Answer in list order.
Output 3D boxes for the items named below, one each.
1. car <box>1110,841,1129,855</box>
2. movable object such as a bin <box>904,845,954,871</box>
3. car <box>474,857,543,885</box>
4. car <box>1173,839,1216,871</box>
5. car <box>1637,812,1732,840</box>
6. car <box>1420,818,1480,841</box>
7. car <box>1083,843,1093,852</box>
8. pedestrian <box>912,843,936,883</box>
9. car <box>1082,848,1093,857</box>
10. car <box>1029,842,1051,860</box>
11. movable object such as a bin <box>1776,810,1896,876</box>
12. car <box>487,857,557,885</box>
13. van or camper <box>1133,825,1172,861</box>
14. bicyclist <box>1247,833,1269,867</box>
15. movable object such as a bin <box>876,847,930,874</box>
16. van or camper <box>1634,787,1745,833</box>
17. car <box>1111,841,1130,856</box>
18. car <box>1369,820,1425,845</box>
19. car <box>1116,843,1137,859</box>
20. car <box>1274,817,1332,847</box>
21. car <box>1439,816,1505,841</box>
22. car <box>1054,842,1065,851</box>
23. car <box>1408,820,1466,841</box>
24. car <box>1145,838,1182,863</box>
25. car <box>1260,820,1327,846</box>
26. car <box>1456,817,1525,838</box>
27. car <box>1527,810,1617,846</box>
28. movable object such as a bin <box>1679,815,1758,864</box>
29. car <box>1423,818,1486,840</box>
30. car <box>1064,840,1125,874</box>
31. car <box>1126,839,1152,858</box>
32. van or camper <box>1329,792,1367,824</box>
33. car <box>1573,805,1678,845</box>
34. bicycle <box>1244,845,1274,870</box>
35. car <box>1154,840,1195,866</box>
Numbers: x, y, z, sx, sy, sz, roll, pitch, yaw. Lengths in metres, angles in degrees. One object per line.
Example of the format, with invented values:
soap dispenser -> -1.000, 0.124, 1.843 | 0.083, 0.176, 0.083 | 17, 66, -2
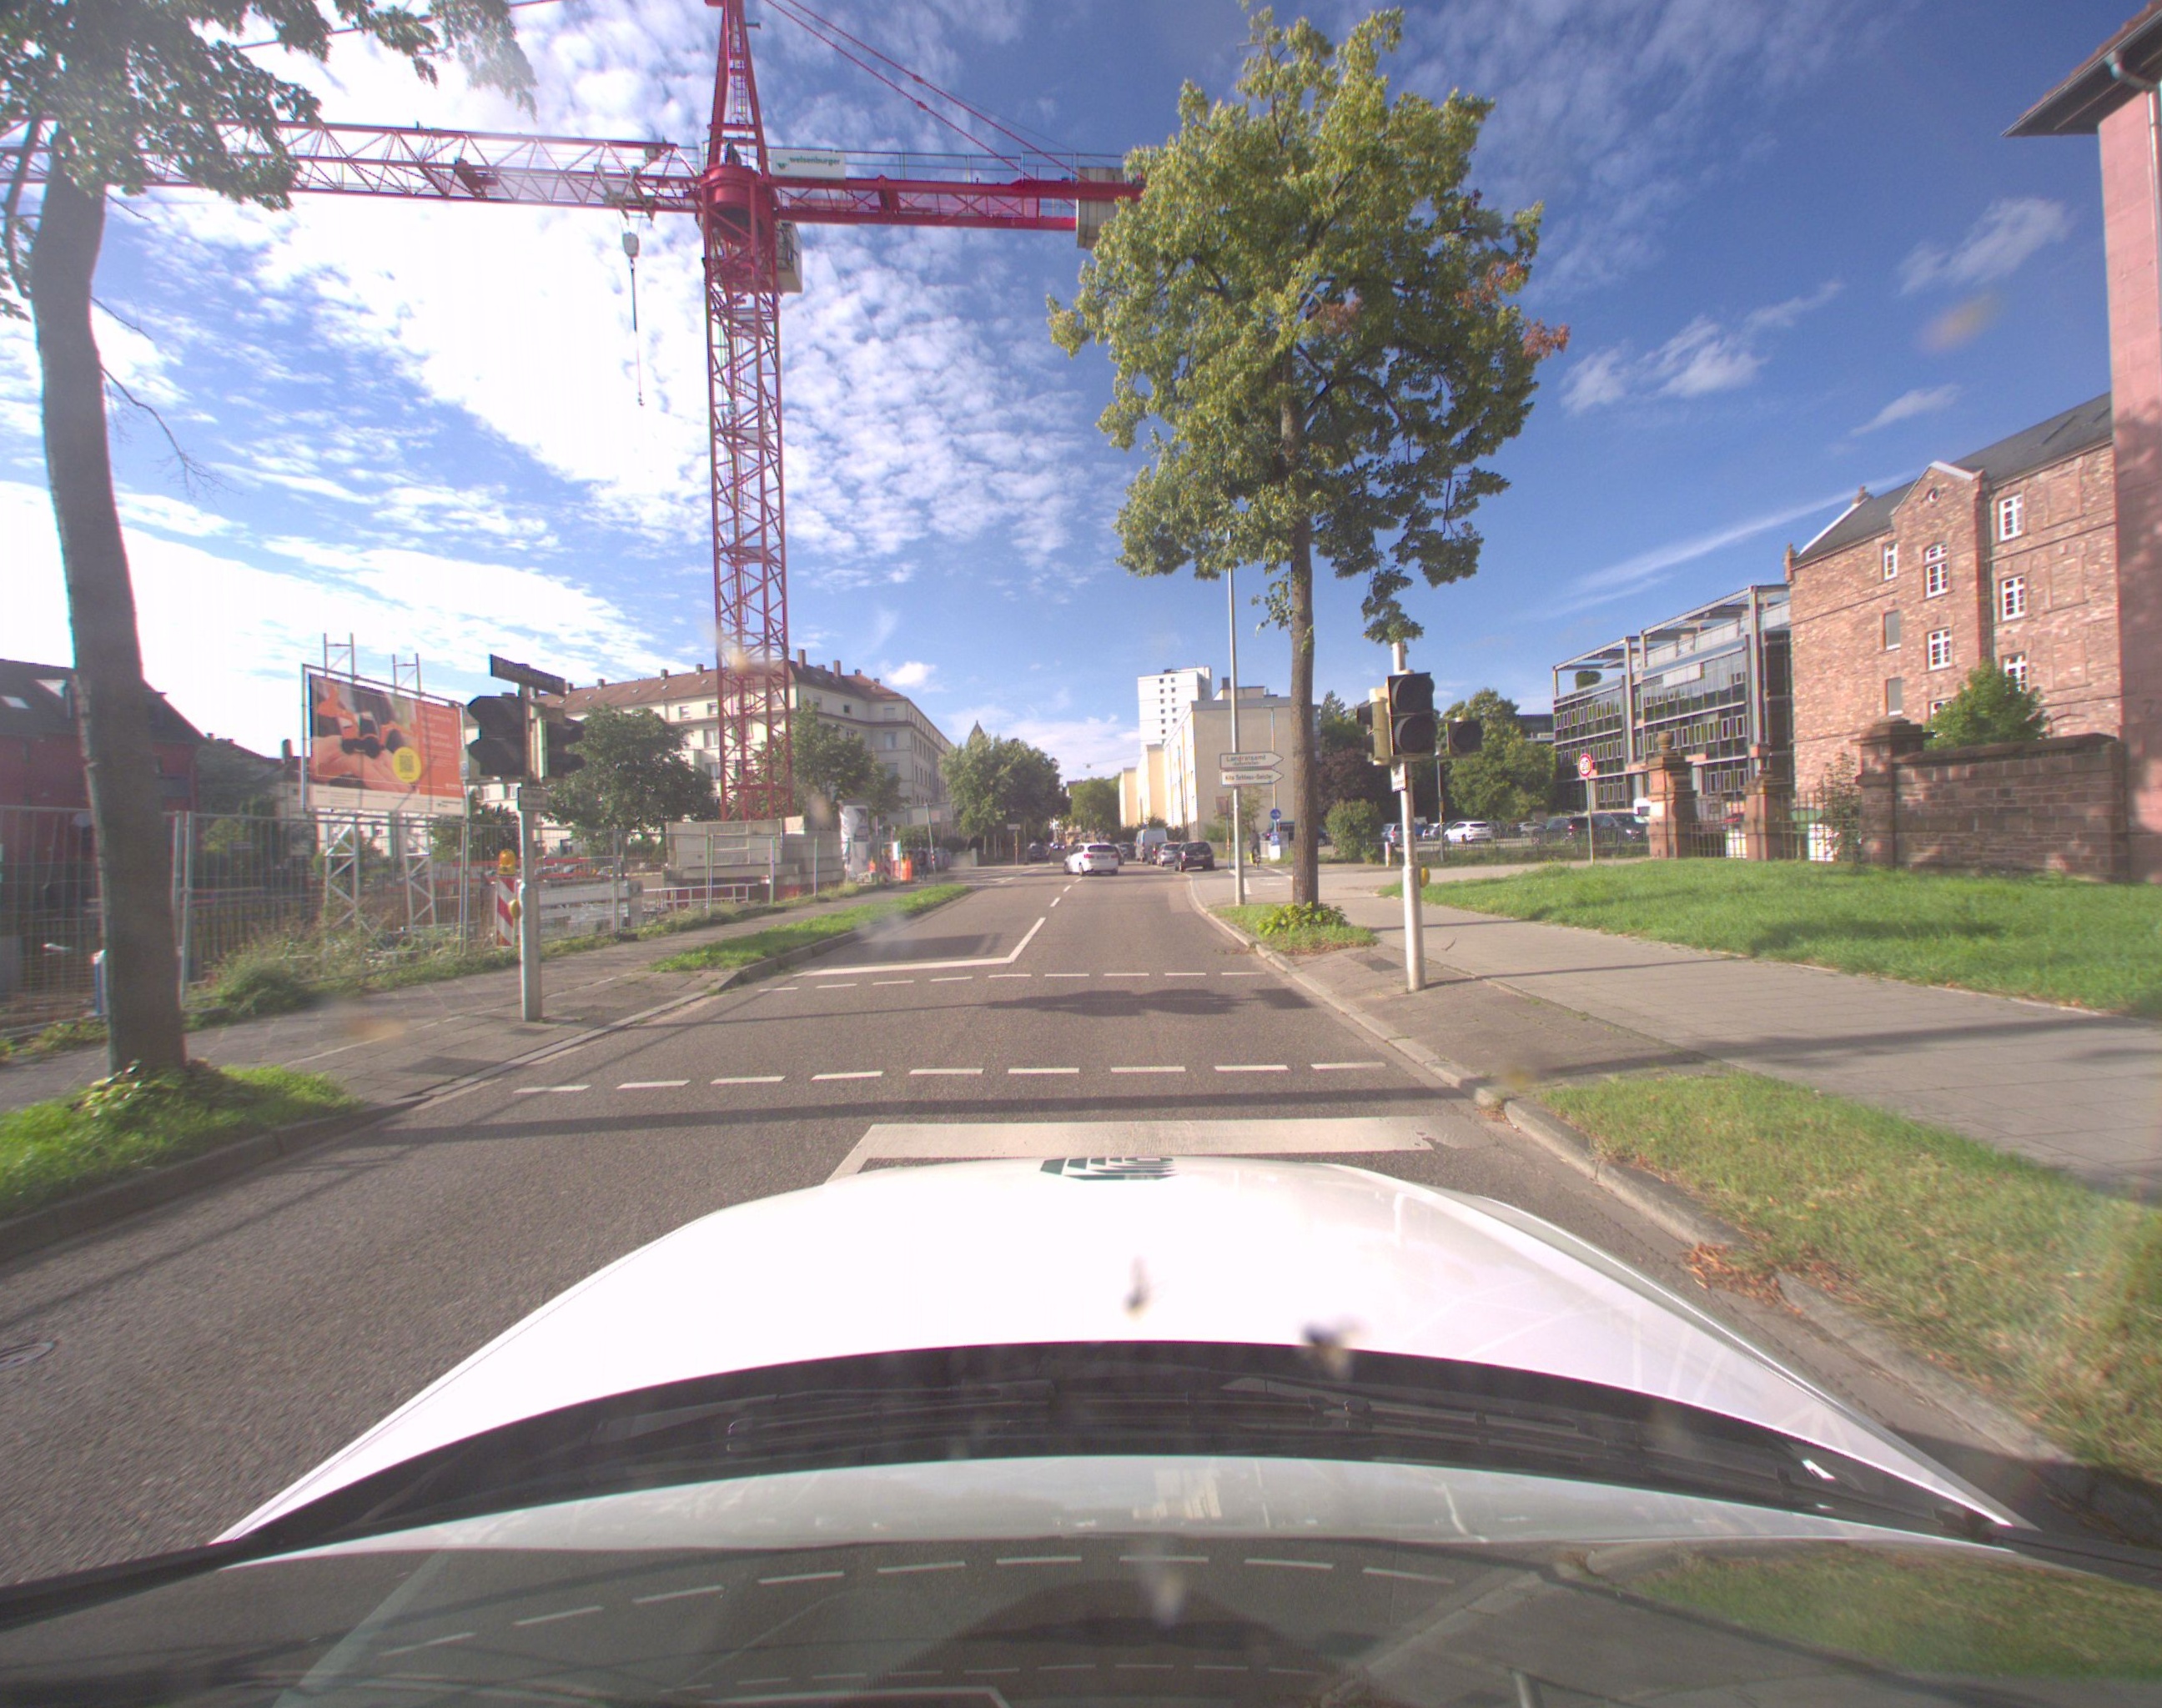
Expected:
car -> 4.636, -0.719, 98.461 | 1.987, 1.574, 4.000 | -3, 1, 0
movable object such as a bin -> -10.681, 0.283, 57.321 | 3.080, 1.707, 1.416 | -1, 0, 14
car -> -44.317, 1.297, 63.181 | 1.980, 2.013, 4.015 | -1, 0, 13
car -> 5.745, 0.047, 41.533 | 1.711, 1.496, 4.271 | -1, 0, 2
car -> 30.277, -1.417, 41.013 | 1.706, 1.265, 3.955 | -4, 2, -3
car -> 30.024, -1.976, 66.296 | 3.974, 1.596, 2.000 | -3, 1, 0
car -> 1.398, -1.368, 164.709 | 1.986, 1.755, 4.002 | -1, 0, 2
pedestrian -> -7.157, 0.414, 37.184 | 1.007, 1.728, 1.174 | -2, -1, -11
car -> 1.392, -0.353, 172.491 | 1.986, 1.755, 4.002 | -1, 0, 2
car -> -4.065, -0.277, 80.572 | 1.990, 1.640, 3.993 | -3, 1, -5
movable object such as a bin -> 18.067, -0.257, 19.540 | 1.410, 1.459, 1.543 | -2, 0, -2
car -> -42.235, 1.251, 61.633 | 1.980, 2.013, 4.015 | -1, 0, 13
van or camper -> 5.544, -0.872, 64.108 | 2.204, 2.607, 5.366 | -3, 1, -3
bicyclist -> 8.054, -0.184, 37.078 | 0.734, 1.513, 0.875 | -5, 0, 0
movable object such as a bin -> -11.882, 0.433, 54.395 | 3.080, 1.707, 1.554 | -1, 0, 15
van or camper -> 39.424, -2.829, 52.886 | 5.223, 2.556, 2.595 | -3, 1, -1
car -> 4.484, -0.673, 93.681 | 1.987, 1.530, 4.000 | -3, 1, 0
car -> 20.423, -1.372, 52.794 | 1.988, 1.442, 3.998 | -3, 1, -2
car -> 4.733, -0.323, 85.613 | 1.987, 1.574, 4.000 | -3, 1, 0
car -> 17.776, -1.763, 65.236 | 4.100, 2.185, 2.003 | -3, 1, 4
car -> 25.031, -1.606, 52.337 | 1.991, 1.442, 3.992 | -3, 1, -6
car -> -4.615, -1.636, 171.849 | 2.053, 1.663, 3.919 | -4, 1, -5
car -> 29.898, -1.951, 68.433 | 3.974, 1.552, 2.000 | -3, 1, 0
car -> 5.807, -0.296, 58.073 | 1.988, 1.615, 4.405 | -3, 1, -2
car -> 15.378, -1.513, 59.135 | 4.428, 1.621, 2.003 | -3, 1, 4
car -> 29.479, -1.884, 58.761 | 3.967, 1.310, 2.004 | -1, 0, 6
car -> 24.803, -1.258, 41.369 | 1.843, 1.589, 4.610 | -4, 0, 2
movable object such as a bin -> 16.842, -0.387, 21.547 | 1.187, 1.231, 1.092 | -2, 0, -2
car -> 29.194, -1.957, 63.734 | 3.973, 1.486, 2.000 | -3, 1, 0
car -> 0.569, 0.133, 39.633 | 1.996, 1.555, 4.255 | -2, 0, -13
car -> 5.314, -0.498, 75.047 | 1.987, 1.574, 4.000 | -3, 1, 0
van or camper -> 27.976, -4.783, 85.492 | 2.319, 2.874, 5.126 | -6, 0, 4
car -> 27.646, -1.440, 41.572 | 1.846, 1.743, 4.796 | -4, 0, -3
bicycle -> 8.093, 0.147, 37.173 | 0.737, 1.034, 2.762 | -5, 0, 1
car -> 5.981, -0.076, 52.694 | 2.010, 1.474, 4.800 | -4, 0, -1
